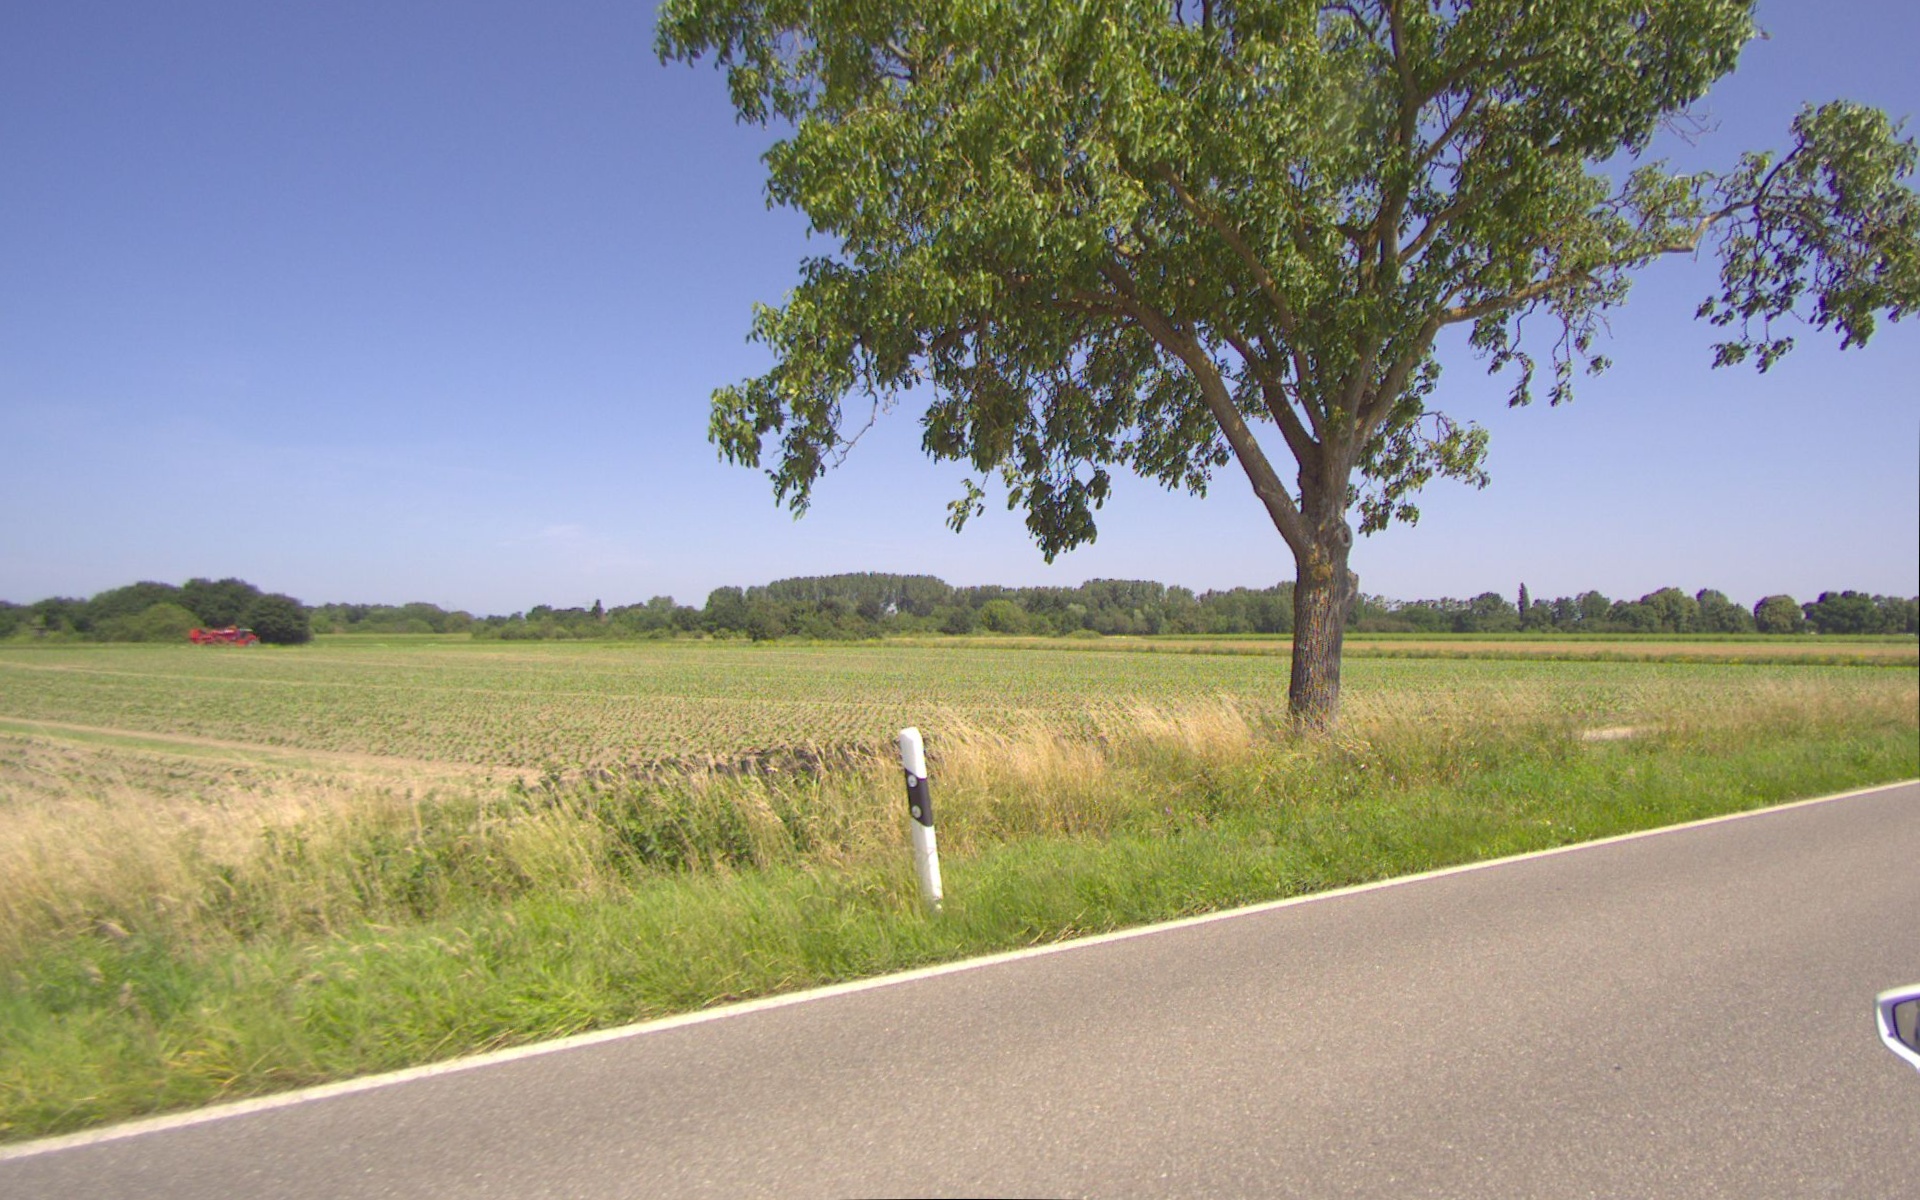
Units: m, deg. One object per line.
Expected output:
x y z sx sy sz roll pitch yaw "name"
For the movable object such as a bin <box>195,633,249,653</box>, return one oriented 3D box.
-147.324 8.672 200.549 9.777 3.899 2.549 -1 -3 9 "movable object such as a bin"
